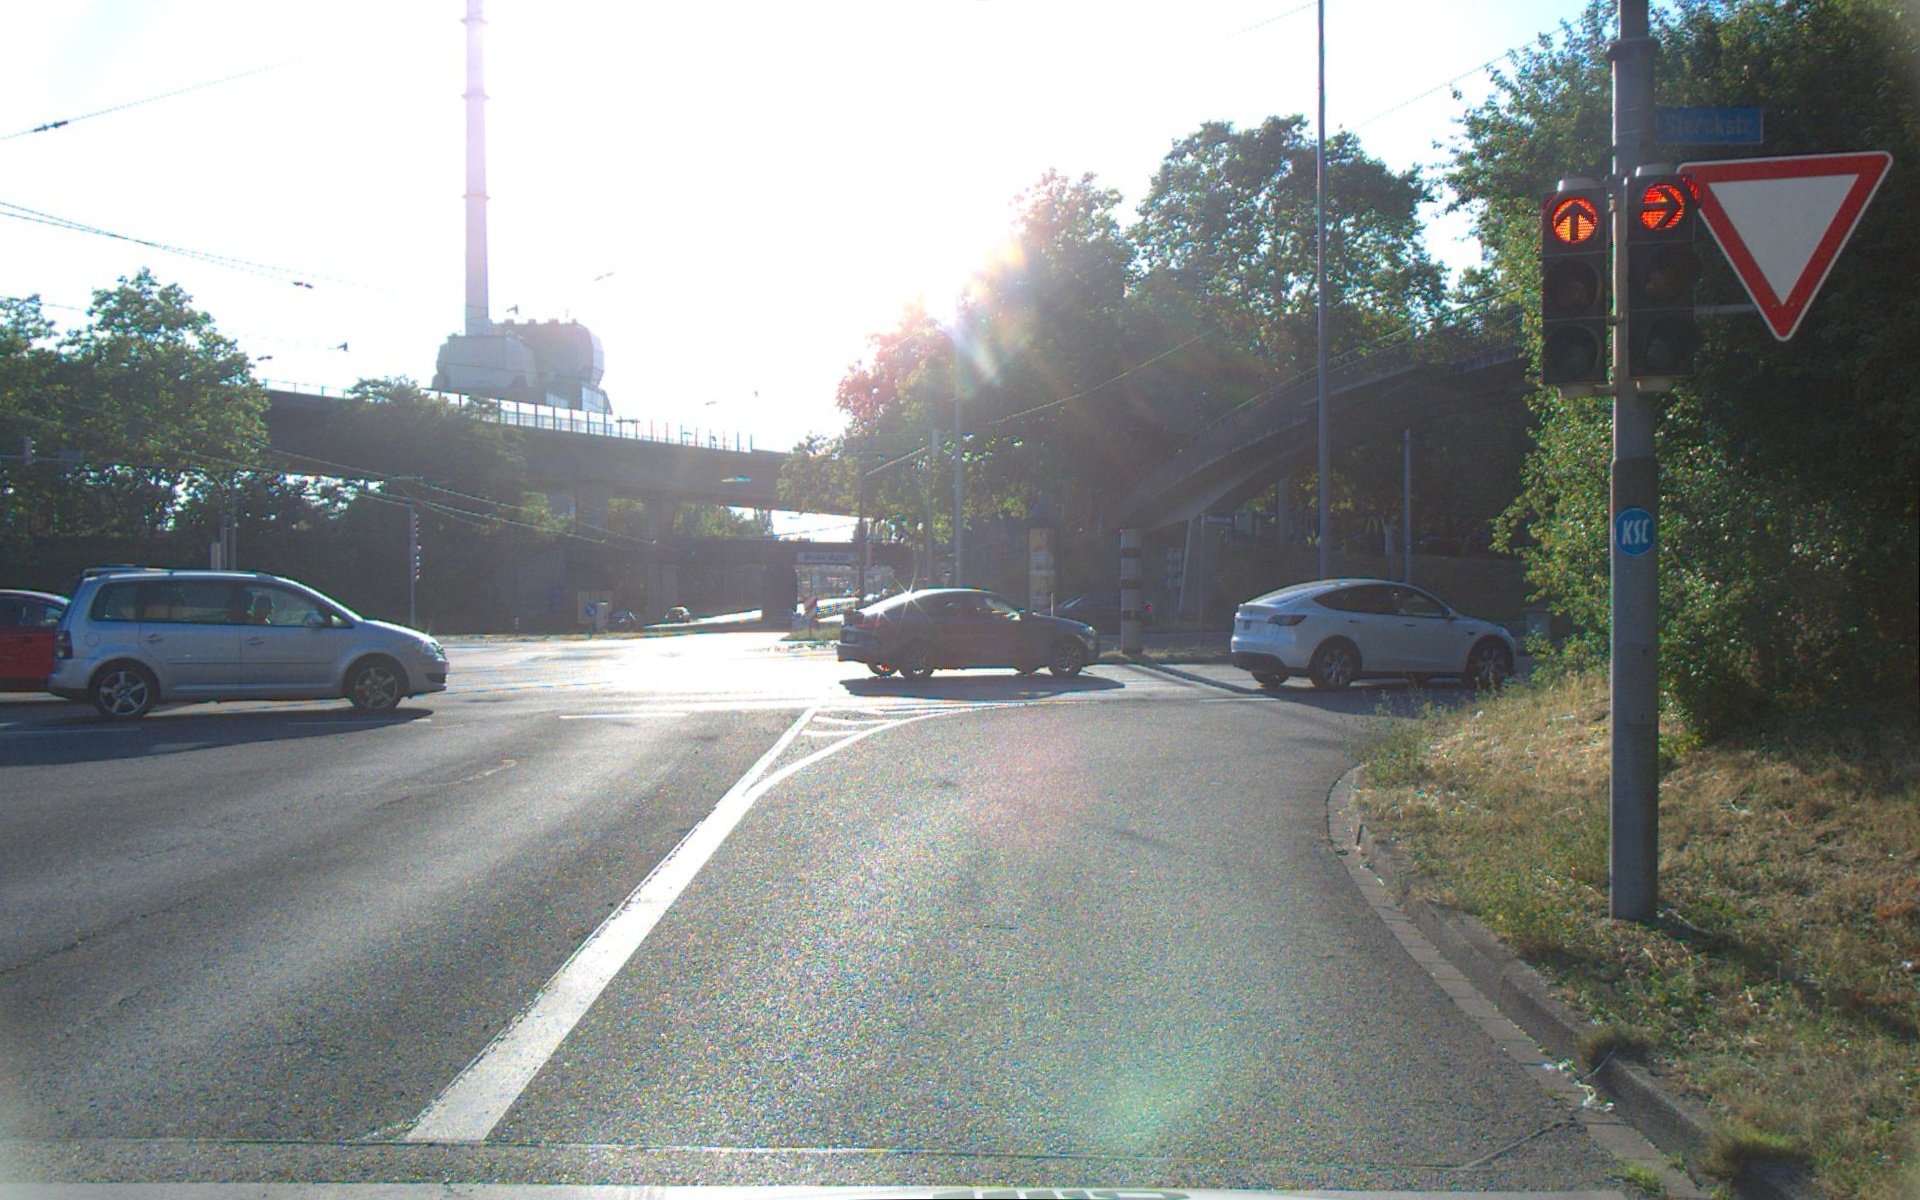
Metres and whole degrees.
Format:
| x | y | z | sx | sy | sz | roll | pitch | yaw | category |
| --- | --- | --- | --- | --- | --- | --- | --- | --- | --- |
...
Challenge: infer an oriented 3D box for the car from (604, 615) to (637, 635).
| x | y | z | sx | sy | sz | roll | pitch | yaw | category |
| --- | --- | --- | --- | --- | --- | --- | --- | --- | --- |
| -25.481 | 1.889 | 124.326 | 1.573 | 1.444 | 4.008 | 1 | 0 | 1 | car |

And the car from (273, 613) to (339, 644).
| x | y | z | sx | sy | sz | roll | pitch | yaw | category |
| --- | --- | --- | --- | --- | --- | --- | --- | --- | --- |
| -31.703 | 1.369 | 80.252 | 1.573 | 1.444 | 4.008 | 1 | 0 | 1 | car |

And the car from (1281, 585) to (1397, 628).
| x | y | z | sx | sy | sz | roll | pitch | yaw | category |
| --- | --- | --- | --- | --- | --- | --- | --- | --- | --- |
| 14.023 | 0.230 | 61.175 | 3.935 | 1.538 | 1.684 | 1 | 0 | -20 | car |

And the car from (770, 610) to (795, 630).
| x | y | z | sx | sy | sz | roll | pitch | yaw | category |
| --- | --- | --- | --- | --- | --- | --- | --- | --- | --- |
| -13.975 | 1.565 | 130.314 | 1.631 | 1.429 | 4.443 | 1 | 0 | -2 | car |

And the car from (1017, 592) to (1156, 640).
| x | y | z | sx | sy | sz | roll | pitch | yaw | category |
| --- | --- | --- | --- | --- | --- | --- | --- | --- | --- |
| 4.350 | 0.551 | 57.095 | 4.505 | 1.602 | 1.685 | 1 | 0 | -18 | car |

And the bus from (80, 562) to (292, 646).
| x | y | z | sx | sy | sz | roll | pitch | yaw | category |
| --- | --- | --- | --- | --- | --- | --- | --- | --- | --- |
| -32.073 | 0.307 | 69.411 | 2.491 | 3.185 | 12.919 | -1 | -1 | 2 | bus |

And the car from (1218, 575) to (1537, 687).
| x | y | z | sx | sy | sz | roll | pitch | yaw | category |
| --- | --- | --- | --- | --- | --- | --- | --- | --- | --- |
| 6.423 | 0.465 | 25.398 | 4.685 | 1.602 | 1.682 | 1 | 0 | -22 | car |

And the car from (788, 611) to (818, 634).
| x | y | z | sx | sy | sz | roll | pitch | yaw | category |
| --- | --- | --- | --- | --- | --- | --- | --- | --- | --- |
| -10.367 | 1.482 | 109.430 | 1.631 | 1.429 | 4.196 | 1 | 0 | -1 | car |

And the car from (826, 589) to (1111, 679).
| x | y | z | sx | sy | sz | roll | pitch | yaw | category |
| --- | --- | --- | --- | --- | --- | --- | --- | --- | --- |
| 0.140 | 0.540 | 27.244 | 4.413 | 1.393 | 1.683 | 1 | 0 | -21 | car |

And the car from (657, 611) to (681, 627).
| x | y | z | sx | sy | sz | roll | pitch | yaw | category |
| --- | --- | --- | --- | --- | --- | --- | --- | --- | --- |
| -27.761 | 1.801 | 157.780 | 1.573 | 1.444 | 4.008 | 1 | 0 | 1 | car |

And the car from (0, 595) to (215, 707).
| x | y | z | sx | sy | sz | roll | pitch | yaw | category |
| --- | --- | --- | --- | --- | --- | --- | --- | --- | --- |
| -12.062 | 0.635 | 21.503 | 4.213 | 1.388 | 1.613 | 1 | 0 | -22 | car |

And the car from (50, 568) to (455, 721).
| x | y | z | sx | sy | sz | roll | pitch | yaw | category |
| --- | --- | --- | --- | --- | --- | --- | --- | --- | --- |
| -8.246 | 0.501 | 19.586 | 4.214 | 1.659 | 1.682 | 1 | 0 | -22 | car |
